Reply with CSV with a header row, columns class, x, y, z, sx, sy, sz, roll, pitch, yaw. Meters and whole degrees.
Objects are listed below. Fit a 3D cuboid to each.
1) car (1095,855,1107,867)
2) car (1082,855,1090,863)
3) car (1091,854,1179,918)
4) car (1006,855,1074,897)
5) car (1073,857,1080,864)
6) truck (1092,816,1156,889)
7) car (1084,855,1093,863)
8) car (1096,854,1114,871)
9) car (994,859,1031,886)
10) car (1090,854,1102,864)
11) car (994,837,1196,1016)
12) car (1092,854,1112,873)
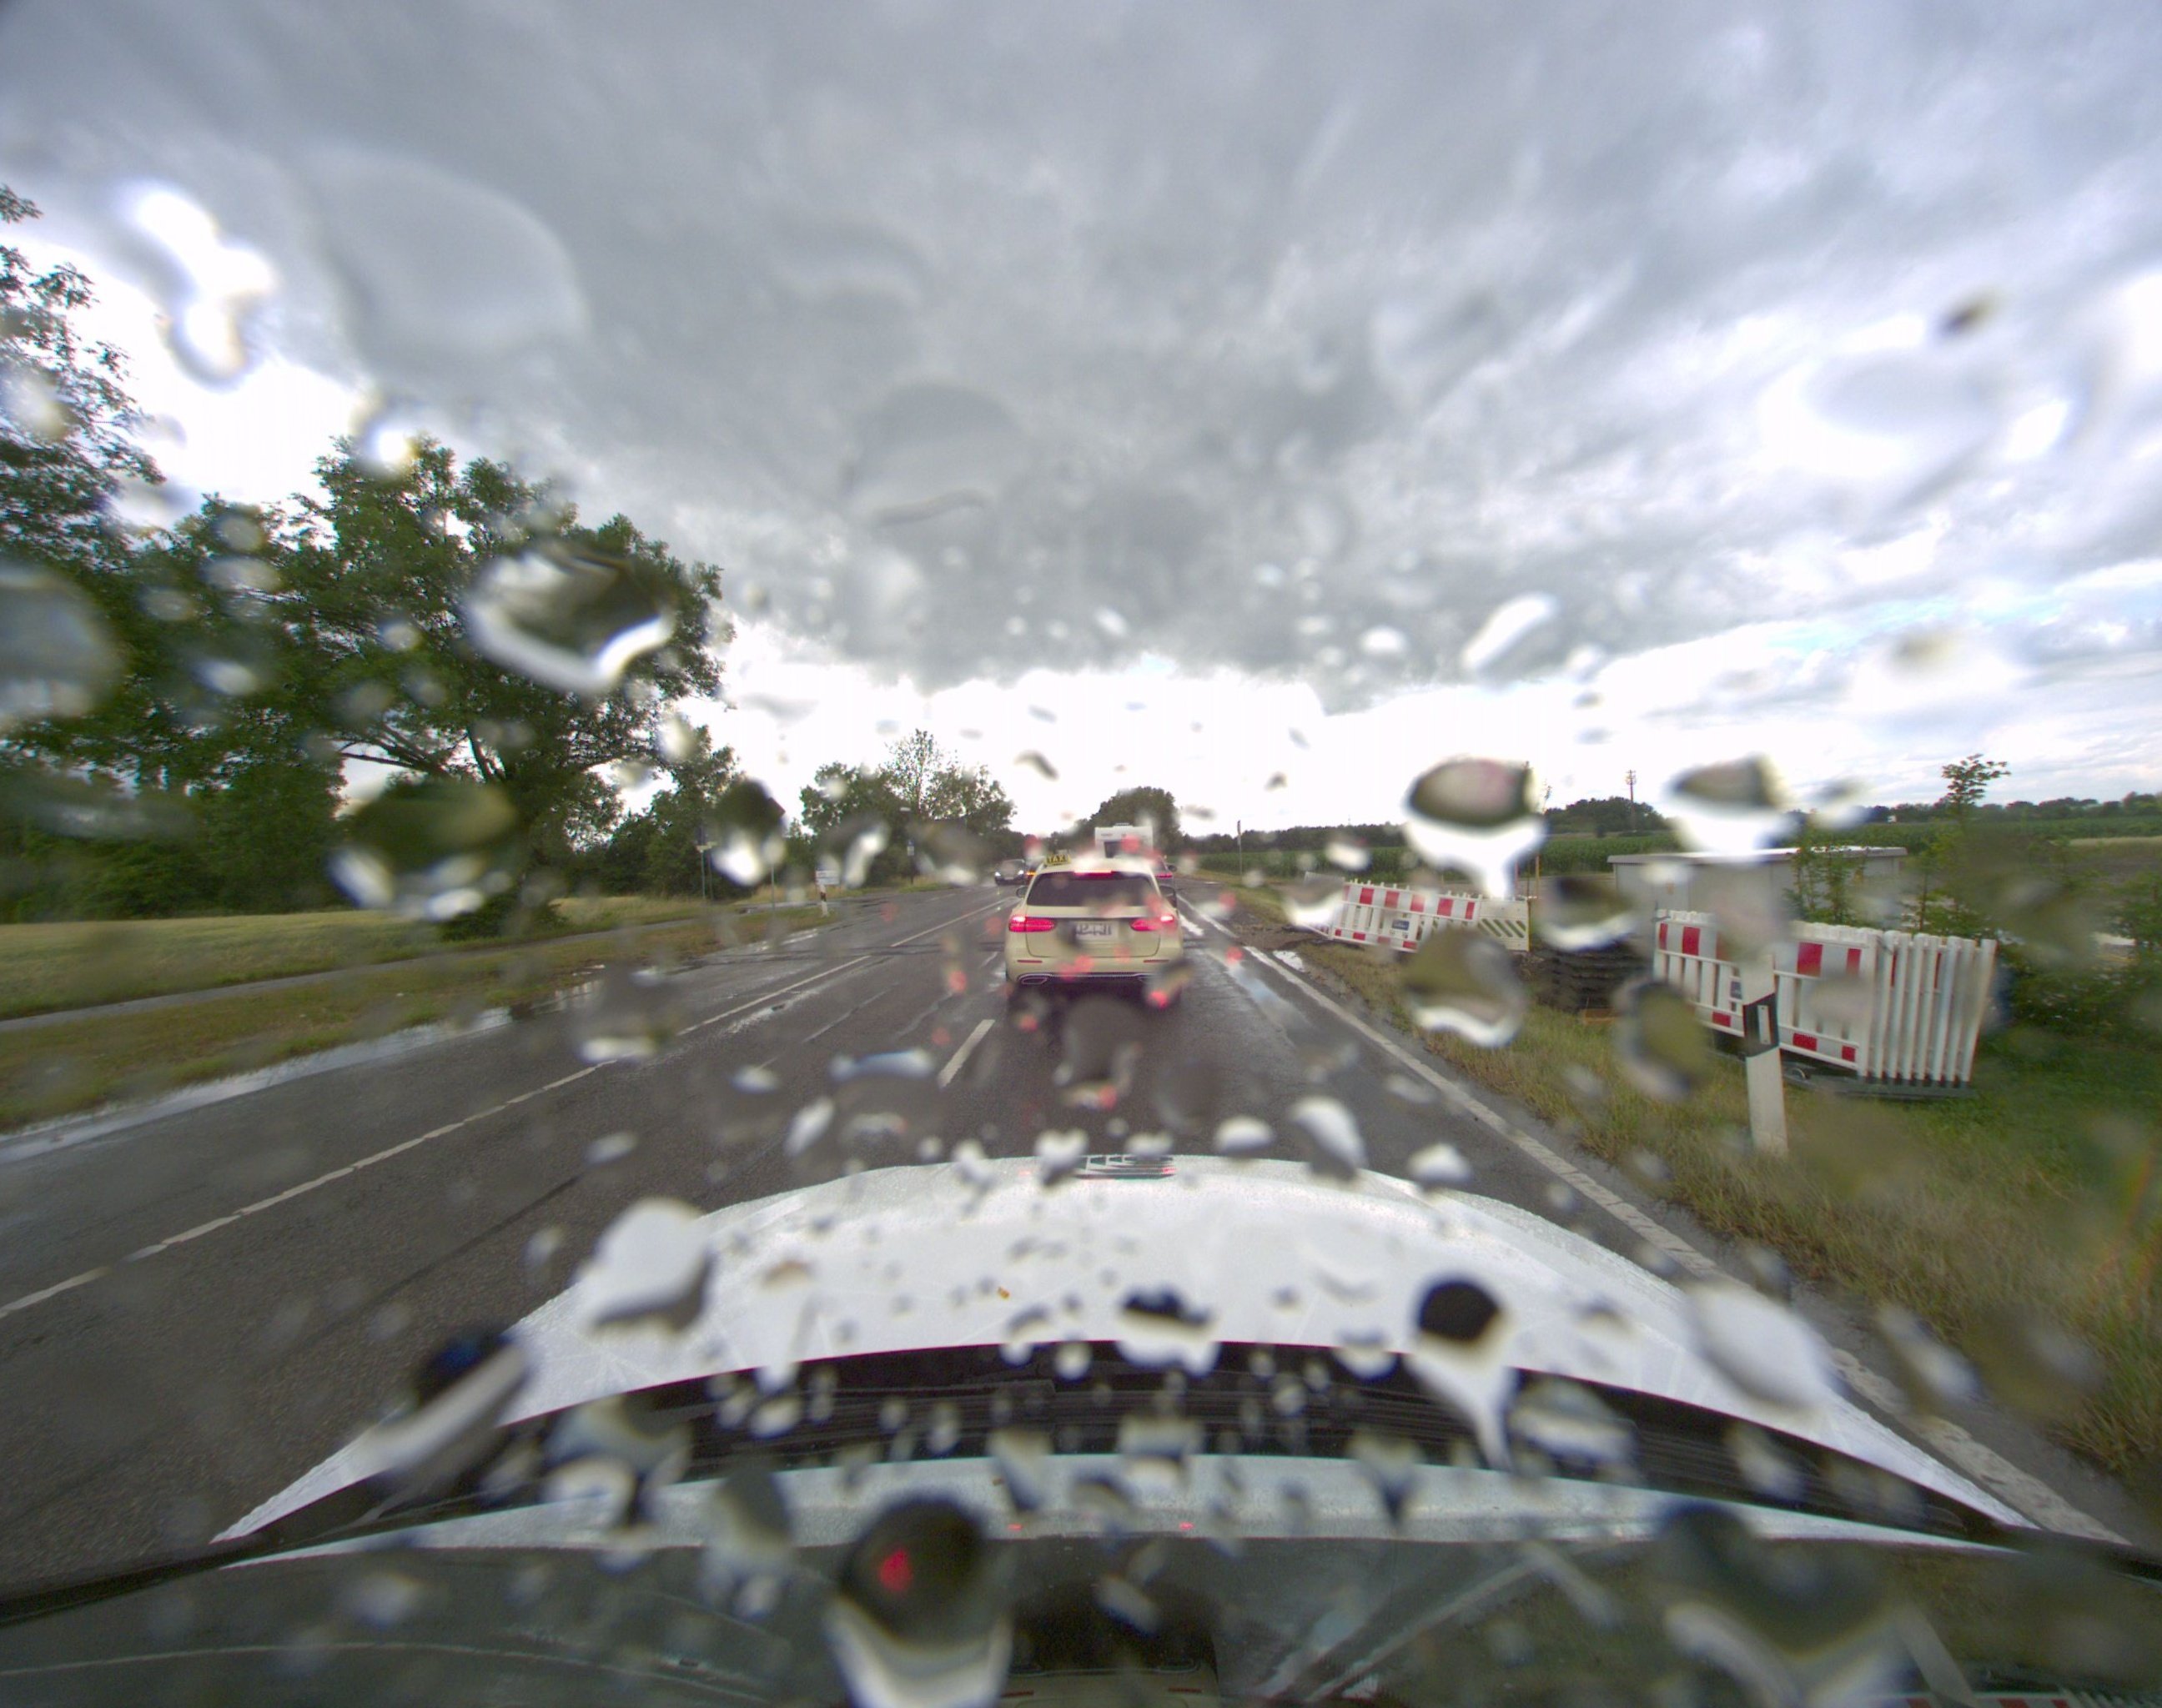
class,x,y,z,sx,sy,sz,roll,pitch,yaw
car,3.245,1.070,129.456,1.784,1.777,3.722,-2,0,2
car,1.204,1.363,210.284,1.890,1.895,3.841,-2,0,-1
car,1.295,0.741,20.554,1.986,1.462,4.001,0,0,2
car,-1.531,0.818,32.060,2.293,1.547,4.634,0,0,2
car,-1.299,1.979,248.443,1.888,1.839,3.883,-2,0,2
truck,1.777,-0.061,35.082,2.354,2.729,7.317,-2,0,2
car,1.817,1.182,197.171,1.745,1.662,3.669,-2,0,-3
car,2.939,0.993,99.963,1.984,2.013,4.005,-2,0,4
car,-4.001,1.050,48.194,1.713,1.404,4.044,-4,0,1
car,2.871,0.991,156.370,1.988,1.772,3.997,-2,0,-2
car,0.192,0.673,9.489,1.836,1.618,4.002,-1,0,2
car,2.232,1.011,85.526,1.907,1.841,3.798,-2,0,3
